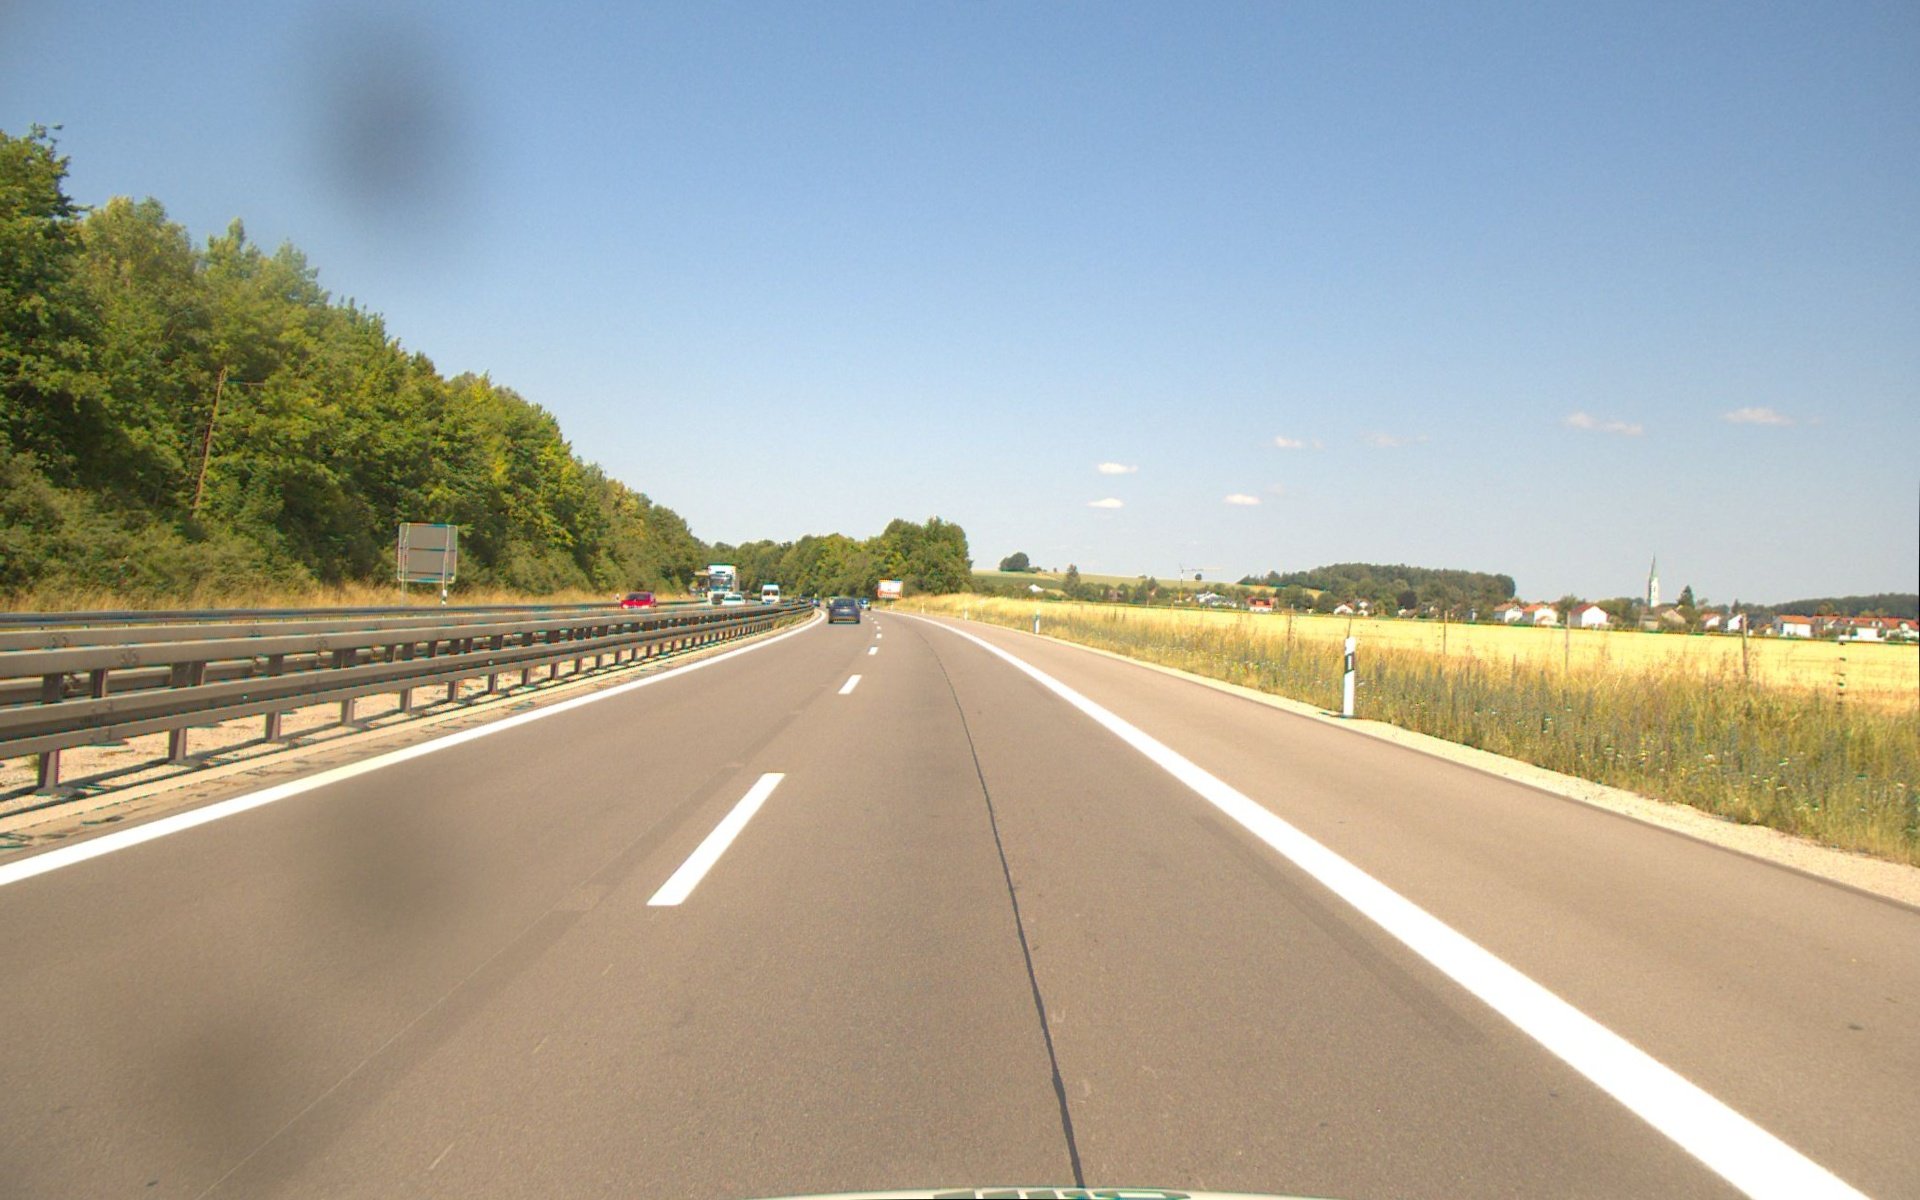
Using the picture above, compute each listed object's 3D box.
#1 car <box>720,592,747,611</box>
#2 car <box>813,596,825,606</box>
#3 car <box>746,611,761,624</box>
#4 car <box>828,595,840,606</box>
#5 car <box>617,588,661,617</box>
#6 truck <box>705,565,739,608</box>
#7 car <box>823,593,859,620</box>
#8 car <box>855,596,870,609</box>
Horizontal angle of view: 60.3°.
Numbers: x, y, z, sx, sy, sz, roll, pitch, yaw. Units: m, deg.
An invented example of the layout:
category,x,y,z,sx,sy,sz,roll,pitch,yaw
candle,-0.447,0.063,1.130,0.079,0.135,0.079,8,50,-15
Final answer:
category,x,y,z,sx,sy,sz,roll,pitch,yaw
car,-18.219,0.101,133.070,1.652,1.509,4.975,2,0,-3
car,-21.677,0.095,254.550,1.642,1.478,3.590,2,0,-3
car,-27.997,2.316,224.123,1.722,1.655,3.998,2,0,-3
car,-17.270,0.033,226.602,1.643,1.478,3.588,2,0,-5
car,-17.159,0.104,88.532,1.639,1.462,4.140,2,0,-2
truck,-22.529,-1.261,156.927,2.692,3.896,5.906,2,0,-4
car,-6.876,0.344,96.120,1.810,1.457,5.864,1,1,-2
car,-11.660,0.318,197.704,1.643,1.478,3.588,2,0,-5
